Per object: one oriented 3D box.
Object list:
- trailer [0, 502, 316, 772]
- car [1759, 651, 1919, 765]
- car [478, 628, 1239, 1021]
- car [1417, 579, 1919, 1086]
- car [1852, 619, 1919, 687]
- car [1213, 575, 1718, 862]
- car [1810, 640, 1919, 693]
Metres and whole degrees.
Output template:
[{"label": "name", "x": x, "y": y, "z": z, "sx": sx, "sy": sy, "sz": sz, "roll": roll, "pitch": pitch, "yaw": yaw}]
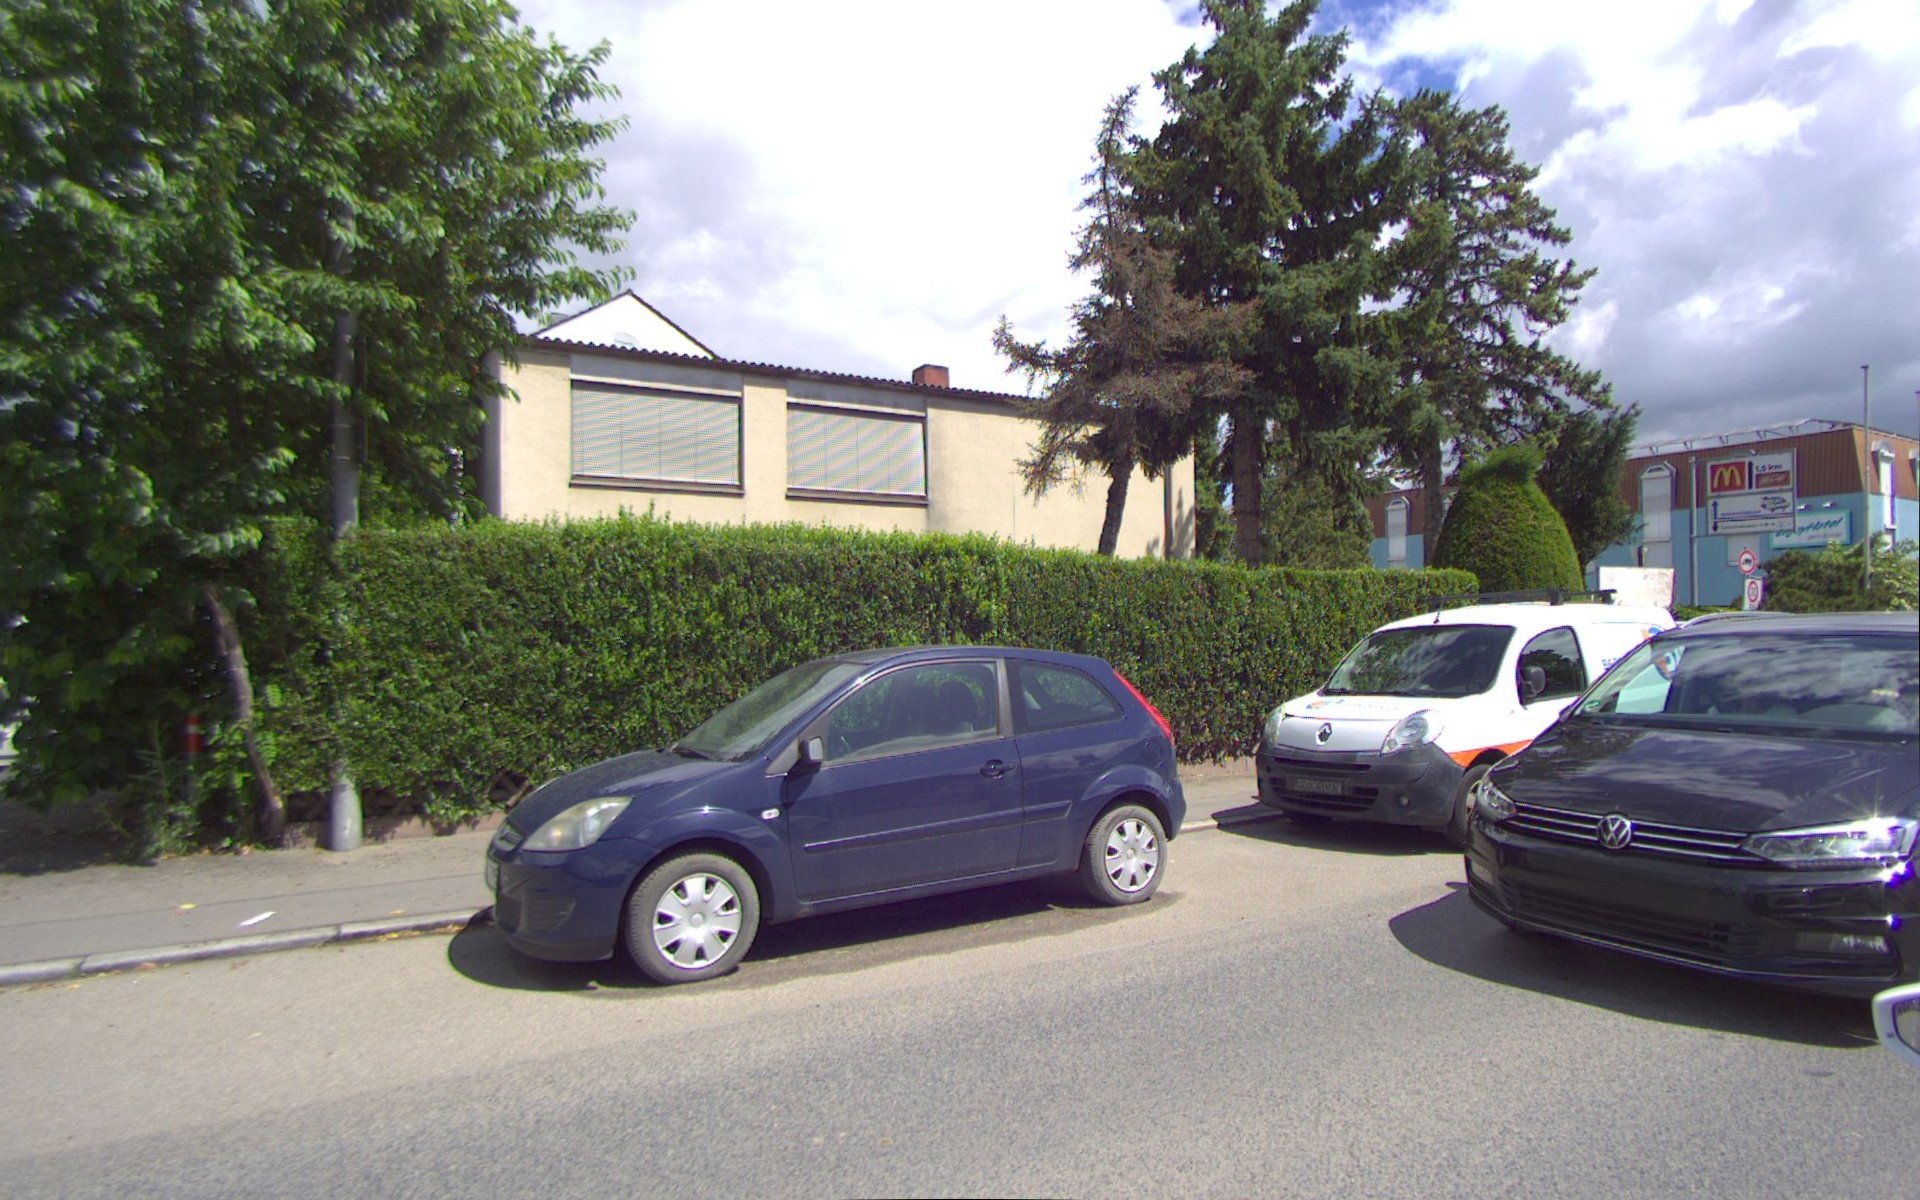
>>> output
[{"label": "trailer", "x": -10.286, "y": 0.580, "z": 13.176, "sx": 2.700, "sy": 2.686, "sz": 6.215, "roll": 1, "pitch": -4, "yaw": -29}, {"label": "car", "x": 12.649, "y": 1.375, "z": 13.570, "sx": 4.072, "sy": 1.320, "sz": 1.622, "roll": 1, "pitch": -5, "yaw": -33}, {"label": "car", "x": -0.458, "y": 0.962, "z": 5.670, "sx": 3.955, "sy": 1.506, "sz": 1.632, "roll": 1, "pitch": -5, "yaw": -32}, {"label": "car", "x": 4.455, "y": 0.794, "z": 5.146, "sx": 4.305, "sy": 1.649, "sz": 1.735, "roll": 1, "pitch": -1, "yaw": -31}, {"label": "car", "x": 29.730, "y": 1.557, "z": 29.692, "sx": 2.093, "sy": 1.998, "sz": 4.625, "roll": 1, "pitch": -2, "yaw": -33}, {"label": "car", "x": 4.337, "y": 0.864, "z": 8.450, "sx": 4.307, "sy": 1.861, "sz": 1.735, "roll": 1, "pitch": -5, "yaw": -32}, {"label": "car", "x": 25.080, "y": 1.760, "z": 26.267, "sx": 1.850, "sy": 1.220, "sz": 3.966, "roll": 1, "pitch": 0, "yaw": -31}]
